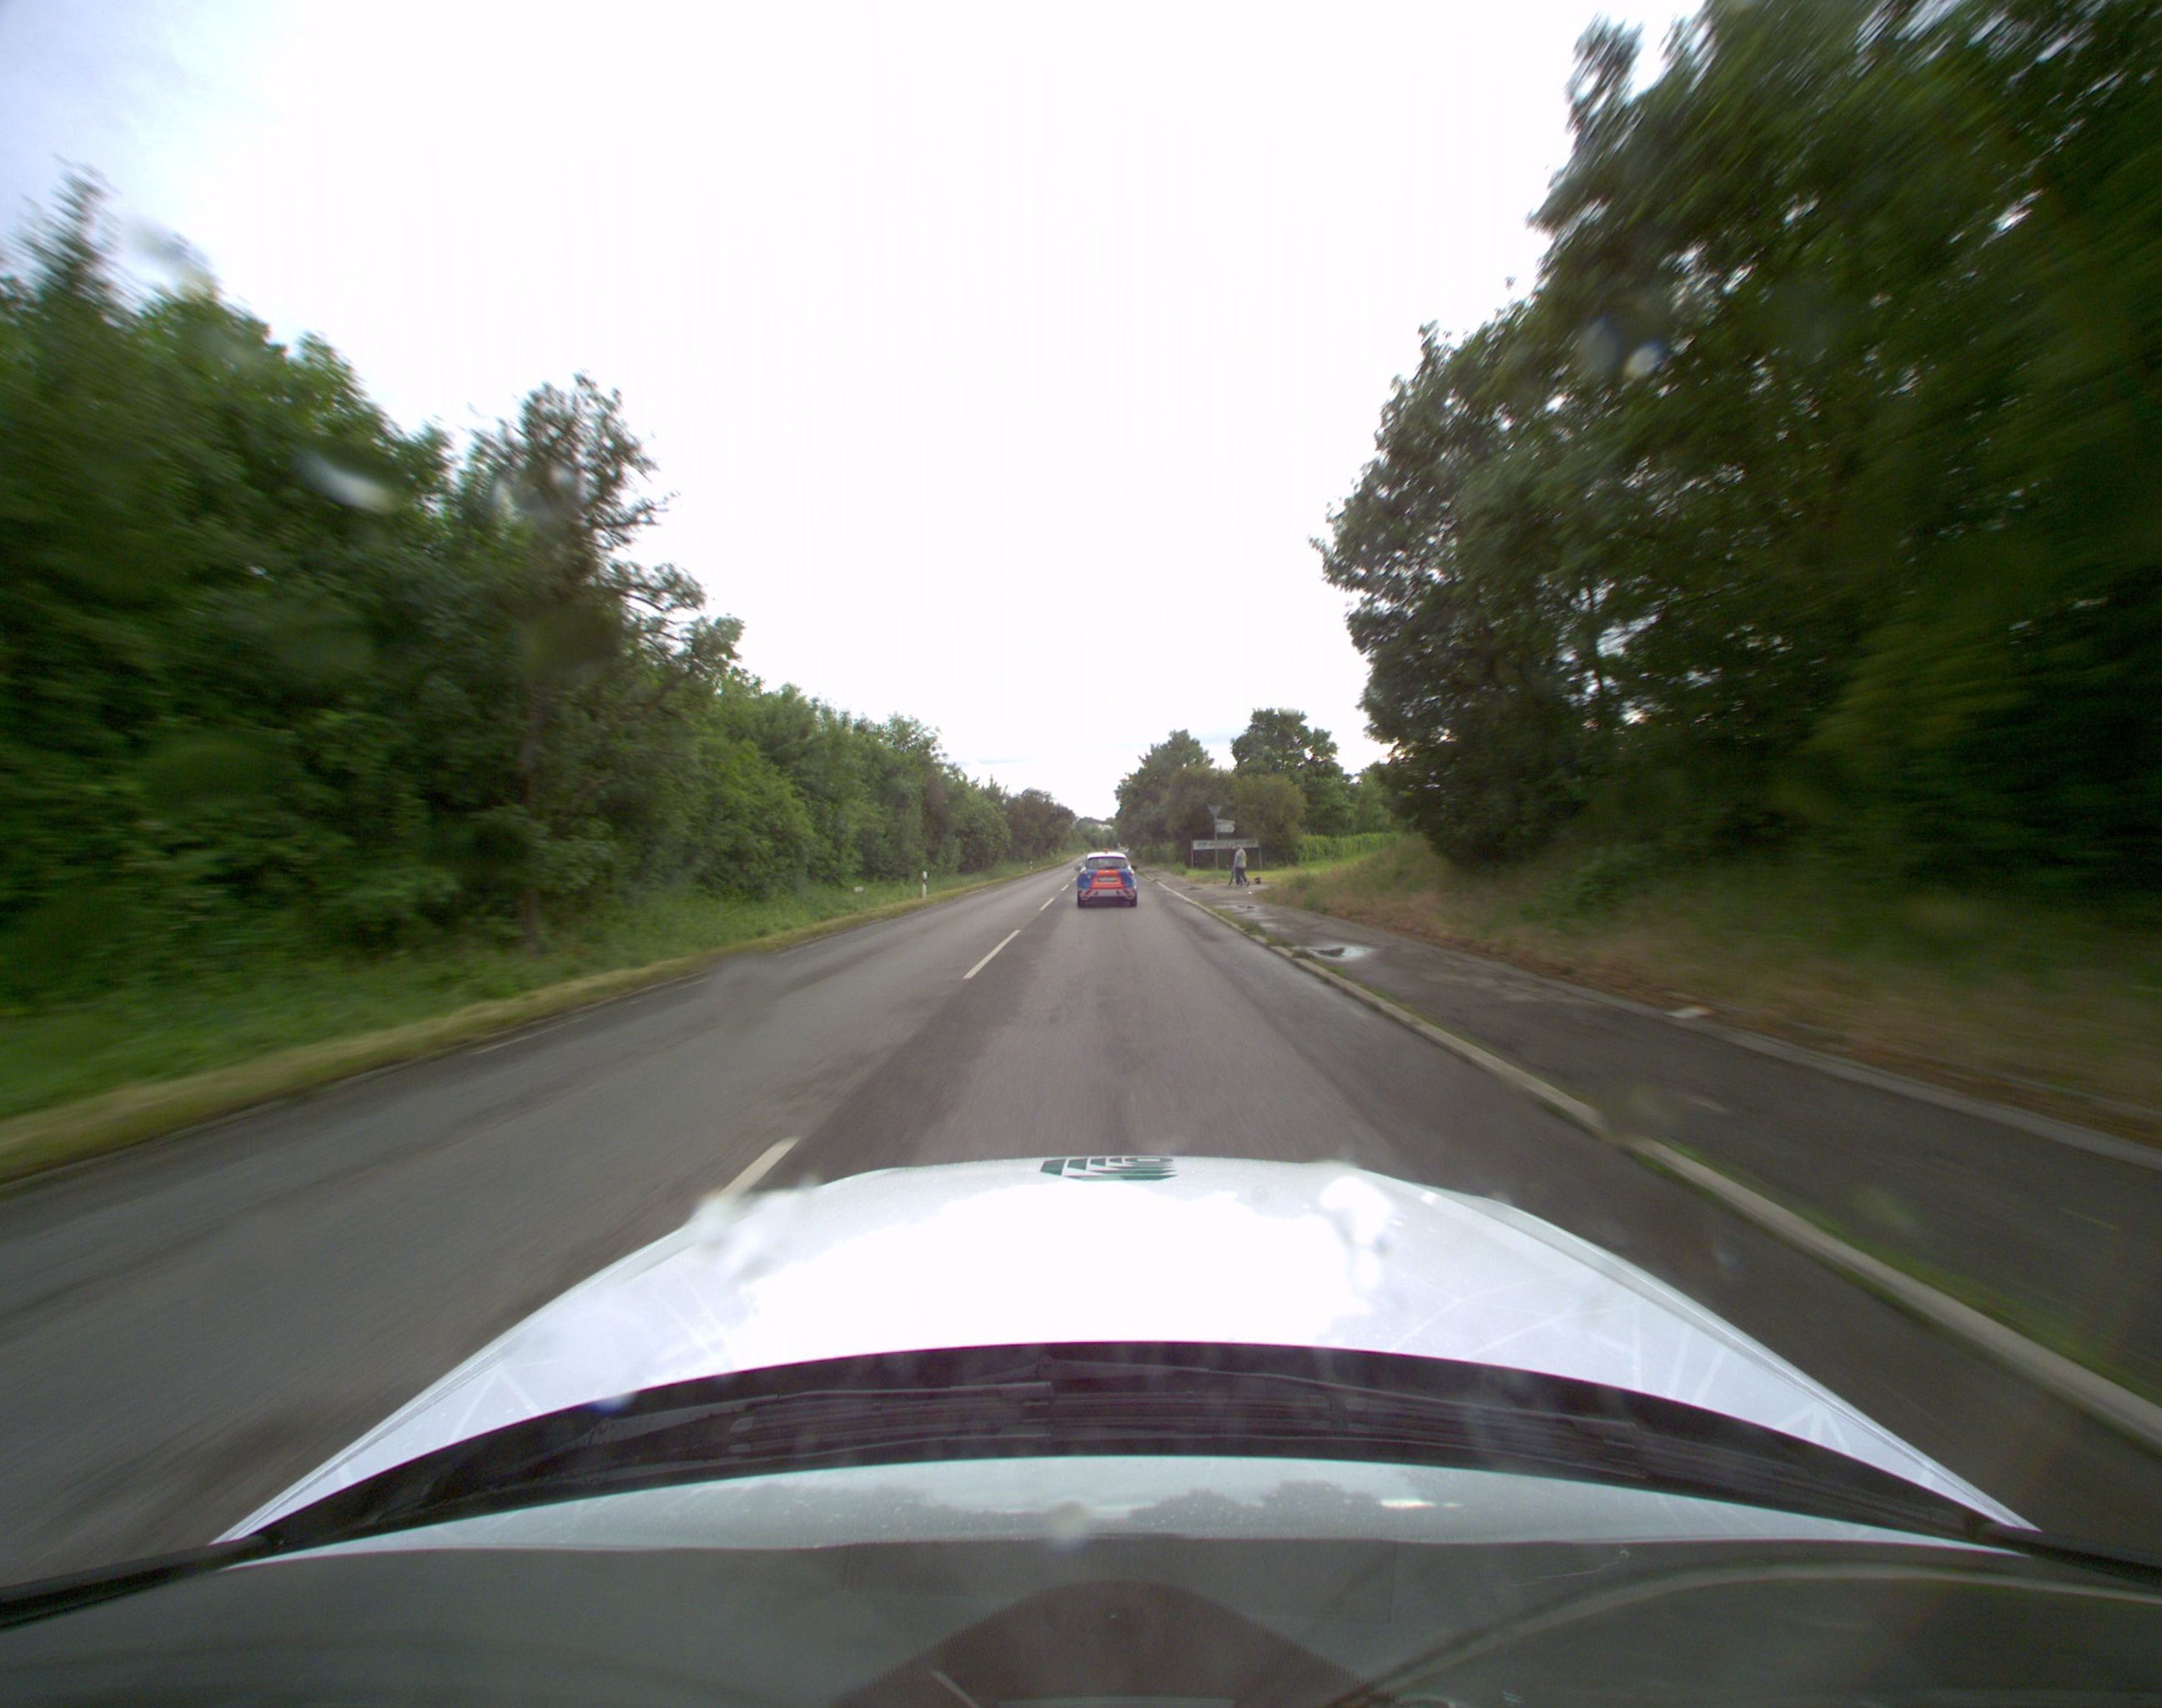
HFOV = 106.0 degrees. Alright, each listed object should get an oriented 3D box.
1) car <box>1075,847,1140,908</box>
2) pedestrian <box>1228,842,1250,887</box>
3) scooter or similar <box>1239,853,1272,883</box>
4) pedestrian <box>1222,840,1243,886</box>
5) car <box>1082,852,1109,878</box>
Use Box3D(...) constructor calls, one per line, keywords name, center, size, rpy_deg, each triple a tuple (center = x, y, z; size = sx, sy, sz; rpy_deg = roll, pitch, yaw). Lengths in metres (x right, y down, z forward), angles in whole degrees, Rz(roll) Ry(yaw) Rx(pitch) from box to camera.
Box3D(name="car", center=(0.777, 0.652, 24.453), size=(1.799, 1.668, 3.857), rpy_deg=(0, 0, 1))
Box3D(name="pedestrian", center=(6.346, 0.425, 32.701), size=(0.658, 1.778, 0.760), rpy_deg=(-3, -1, 1))
Box3D(name="scooter or similar", center=(7.268, 0.574, 33.944), size=(1.310, 1.206, 0.376), rpy_deg=(-3, -1, 42))
Box3D(name="pedestrian", center=(6.234, 0.362, 33.530), size=(0.690, 1.827, 0.801), rpy_deg=(-3, -1, 1))
Box3D(name="car", center=(0.948, 0.685, 51.999), size=(1.687, 1.595, 3.857), rpy_deg=(0, 0, 1))
